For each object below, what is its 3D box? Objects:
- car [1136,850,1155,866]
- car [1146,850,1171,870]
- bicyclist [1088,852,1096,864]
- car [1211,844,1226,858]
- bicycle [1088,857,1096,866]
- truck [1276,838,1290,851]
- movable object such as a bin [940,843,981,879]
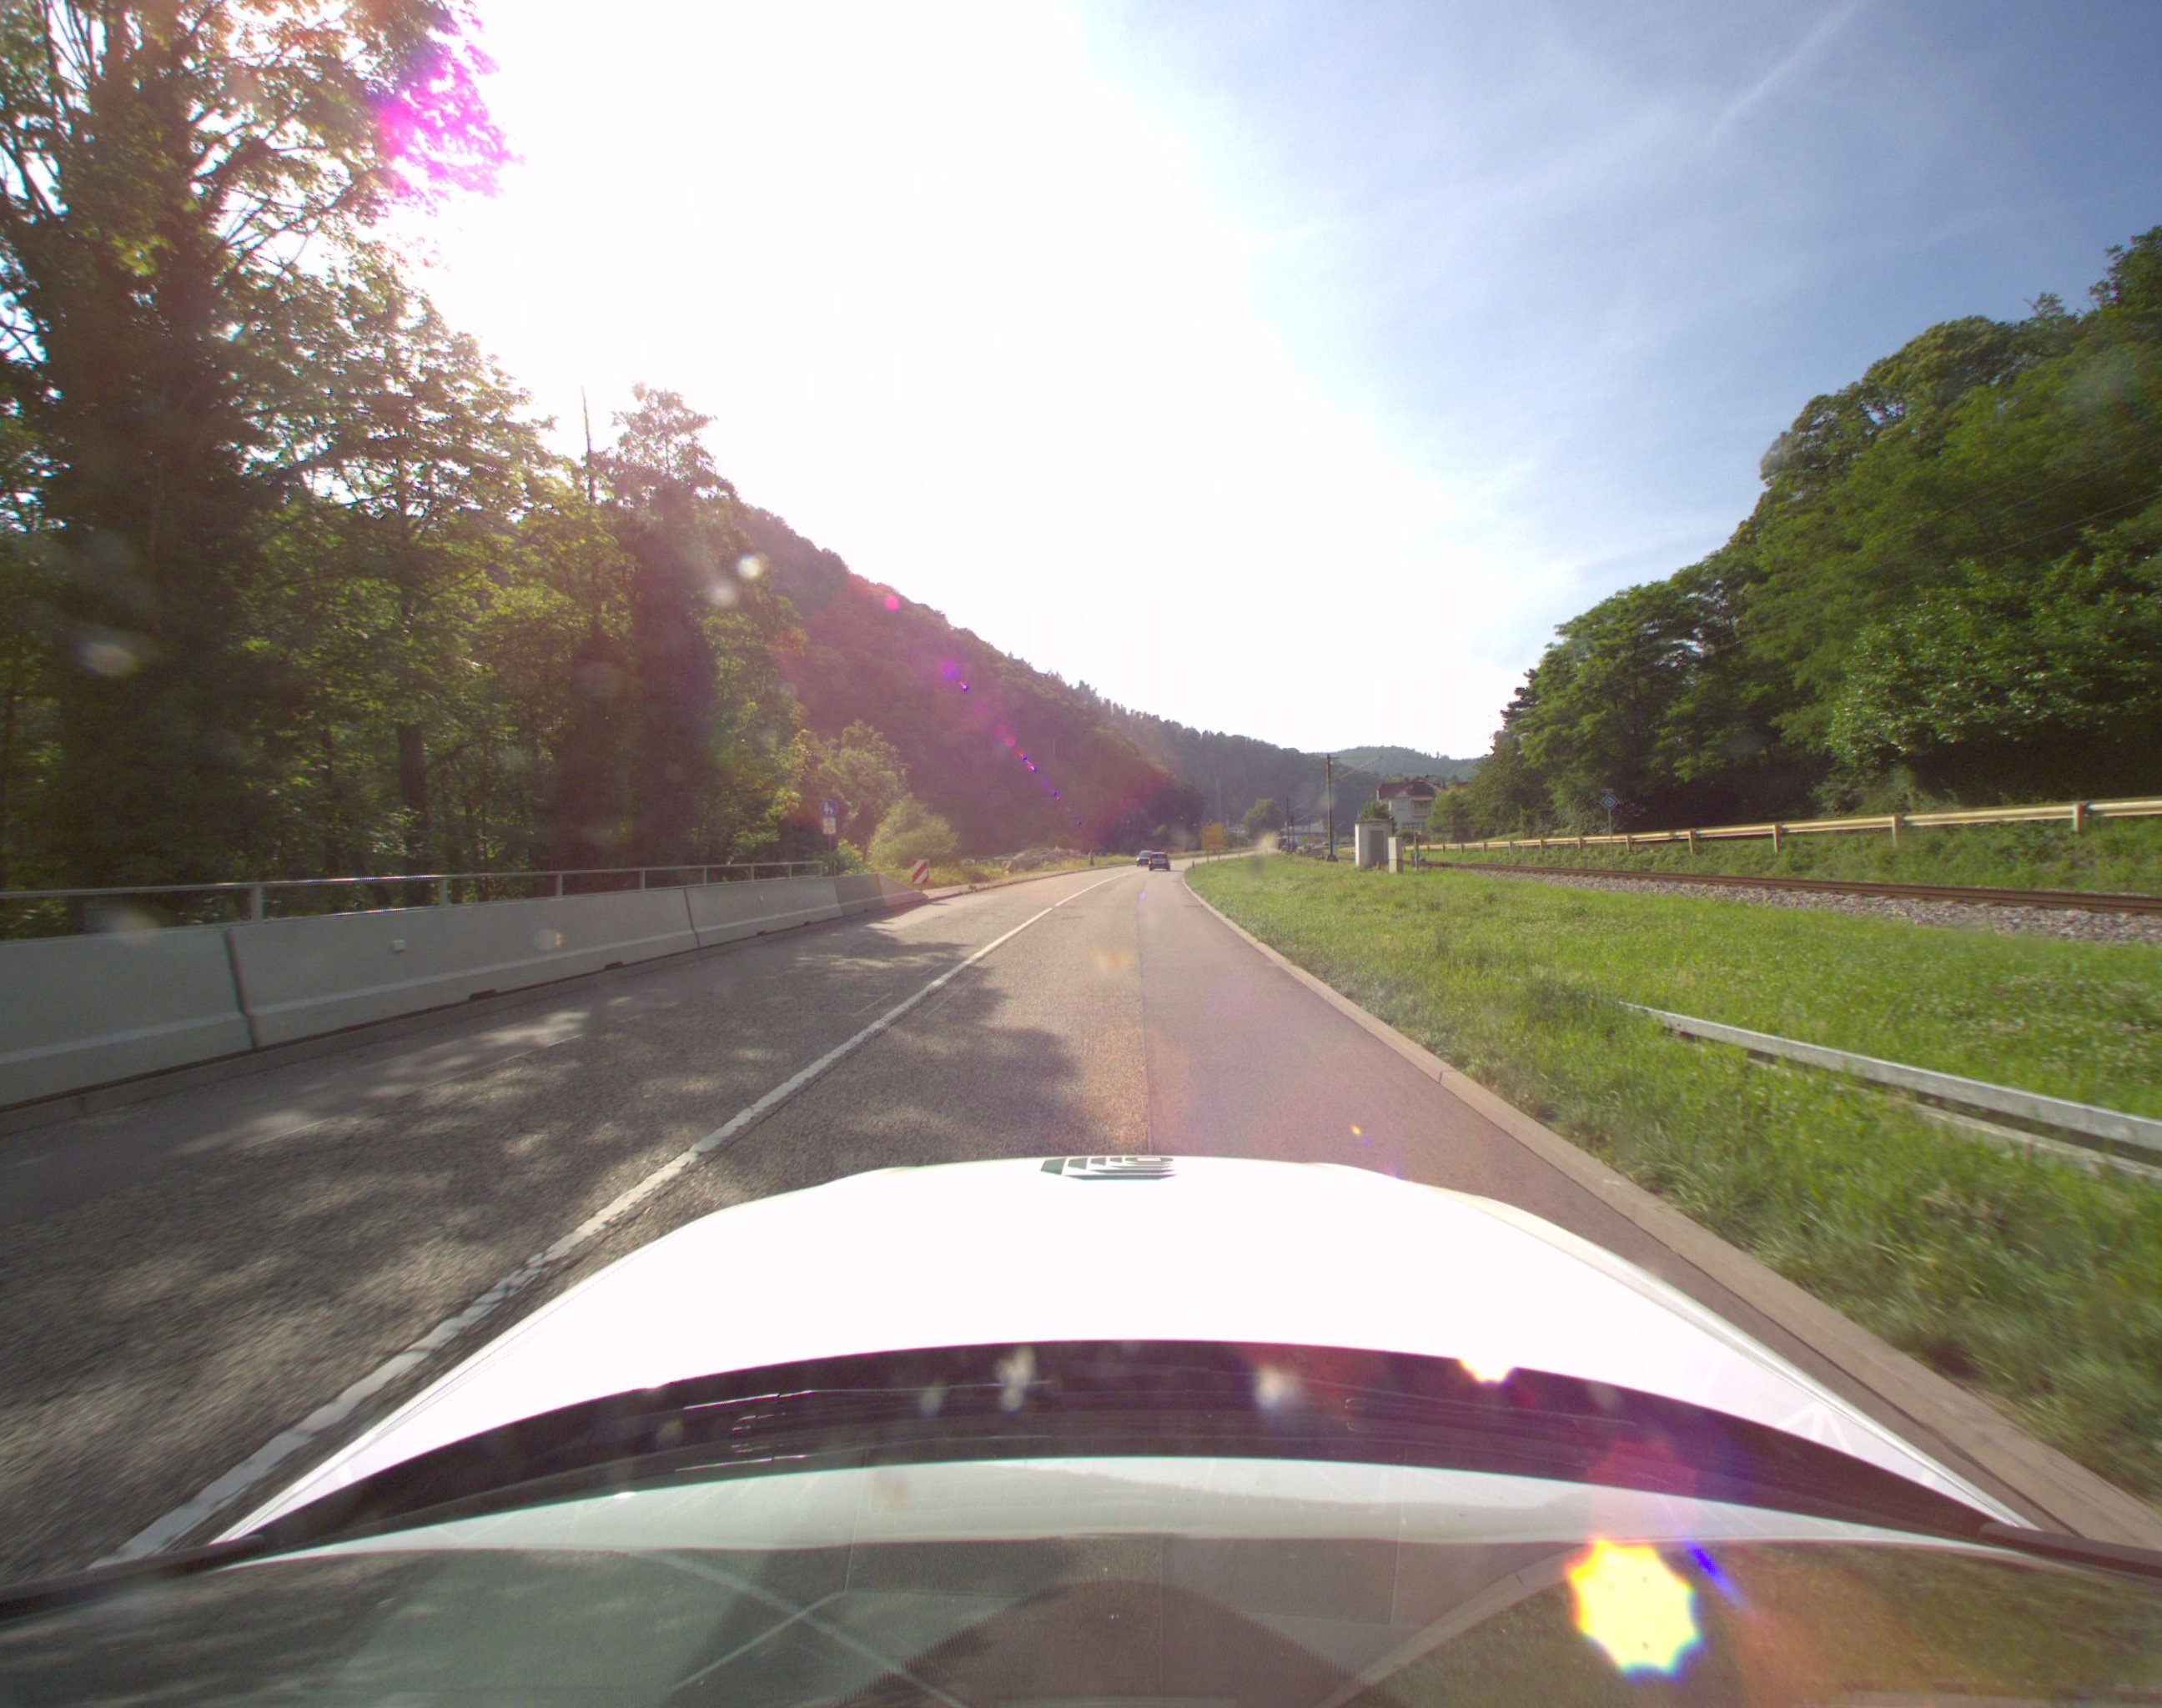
[{"bbox_3d":[7.388,0.456,93.047,1.841,1.784,4.694,0,0,7],"label":"car"},{"bbox_3d":[7.058,0.520,73.499,1.982,1.723,3.999,-3,0,8],"label":"car"},{"bbox_3d":[1.051,0.406,79.602,0.680,1.225,0.860,0,0,6],"label":"bicyclist"},{"bbox_3d":[20.577,-0.479,121.775,1.982,2.013,4.009,-3,0,8],"label":"car"},{"bbox_3d":[1.047,0.708,79.524,0.536,0.881,2.257,1,0,7],"label":"bicycle"},{"bbox_3d":[61.251,-2.804,246.906,2.726,3.835,8.243,0,1,22],"label":"truck"},{"bbox_3d":[-14.340,0.827,97.830,2.884,3.947,7.821,-3,0,5],"label":"movable object such as a bin"}]
